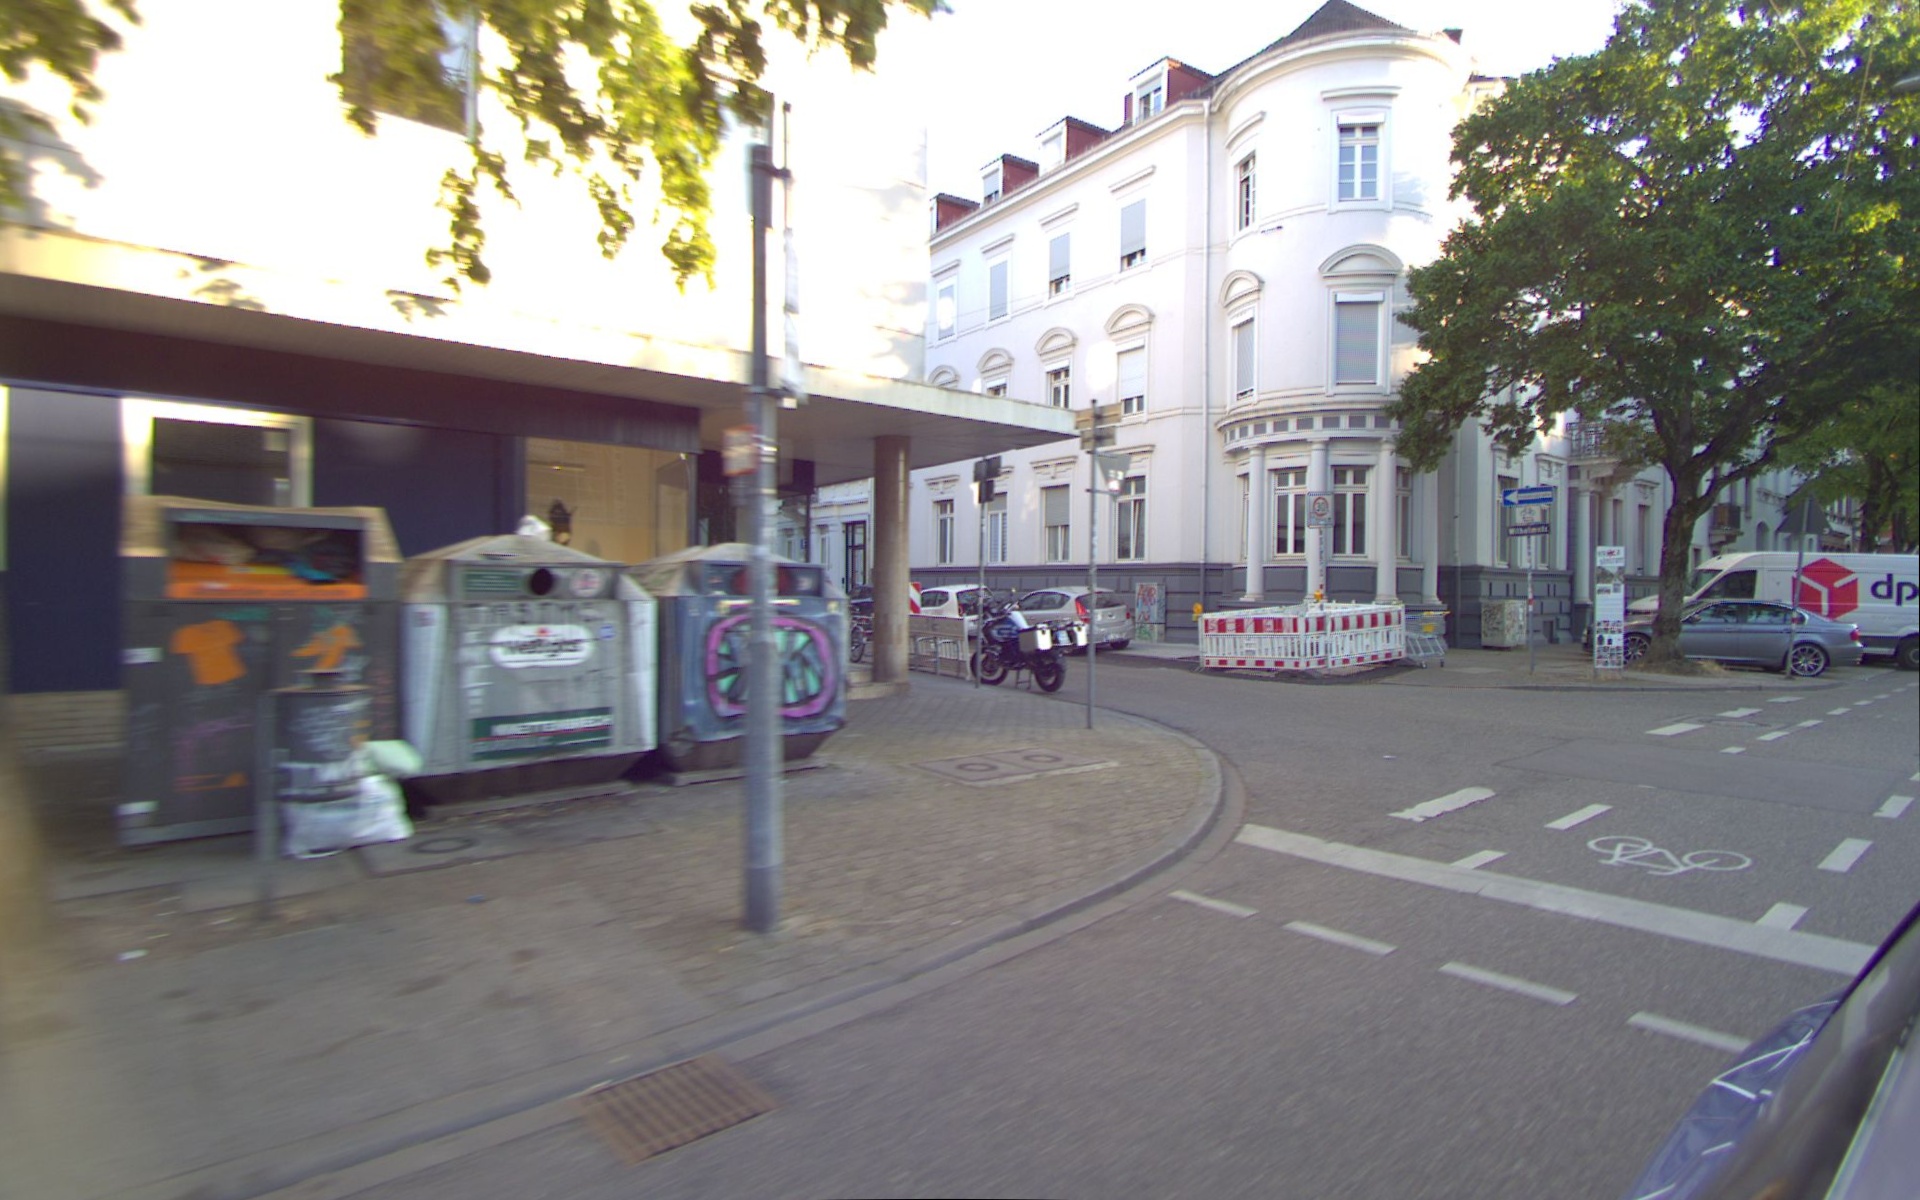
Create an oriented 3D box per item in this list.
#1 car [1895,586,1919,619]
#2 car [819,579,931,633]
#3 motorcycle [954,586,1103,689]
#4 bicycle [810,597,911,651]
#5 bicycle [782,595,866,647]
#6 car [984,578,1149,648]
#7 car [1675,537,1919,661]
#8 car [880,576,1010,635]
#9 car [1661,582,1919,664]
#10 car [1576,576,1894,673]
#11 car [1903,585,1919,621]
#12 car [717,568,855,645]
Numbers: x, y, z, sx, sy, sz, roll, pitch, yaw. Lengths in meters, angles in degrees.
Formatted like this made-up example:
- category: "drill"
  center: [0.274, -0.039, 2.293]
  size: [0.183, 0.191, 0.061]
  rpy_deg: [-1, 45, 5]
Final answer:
- category: "car"
  center: [49.578, 0.127, 50.276]
  size: [4.161, 1.629, 1.731]
  rpy_deg: [1, 1, 21]
- category: "car"
  center: [-2.735, 0.142, 31.872]
  size: [1.818, 1.597, 3.899]
  rpy_deg: [0, 1, -34]
- category: "motorcycle"
  center: [1.000, 0.513, 15.386]
  size: [1.265, 1.422, 2.099]
  rpy_deg: [-1, 1, -33]
- category: "bicycle"
  center: [-2.071, 0.480, 21.238]
  size: [2.057, 1.069, 0.592]
  rpy_deg: [-1, 1, -32]
- category: "bicycle"
  center: [-2.925, 0.431, 21.898]
  size: [1.841, 1.069, 0.525]
  rpy_deg: [-1, 1, -44]
- category: "car"
  center: [2.447, 0.244, 24.037]
  size: [1.818, 1.510, 3.899]
  rpy_deg: [0, 1, -34]
- category: "car"
  center: [20.354, -0.048, 23.592]
  size: [5.560, 2.728, 2.161]
  rpy_deg: [1, 1, 16]
- category: "car"
  center: [-0.492, 0.113, 28.408]
  size: [1.818, 1.511, 3.899]
  rpy_deg: [0, 1, -34]
- category: "car"
  center: [18.000, 0.444, 21.776]
  size: [4.356, 1.462, 1.974]
  rpy_deg: [3, 2, 22]
- category: "car"
  center: [15.026, 0.420, 19.980]
  size: [4.556, 1.532, 1.848]
  rpy_deg: [4, 1, 23]
- category: "car"
  center: [45.917, 0.180, 45.957]
  size: [4.161, 1.629, 1.691]
  rpy_deg: [1, 1, 21]
- category: "car"
  center: [-4.303, 0.104, 24.441]
  size: [1.817, 1.689, 4.365]
  rpy_deg: [0, 1, -31]
